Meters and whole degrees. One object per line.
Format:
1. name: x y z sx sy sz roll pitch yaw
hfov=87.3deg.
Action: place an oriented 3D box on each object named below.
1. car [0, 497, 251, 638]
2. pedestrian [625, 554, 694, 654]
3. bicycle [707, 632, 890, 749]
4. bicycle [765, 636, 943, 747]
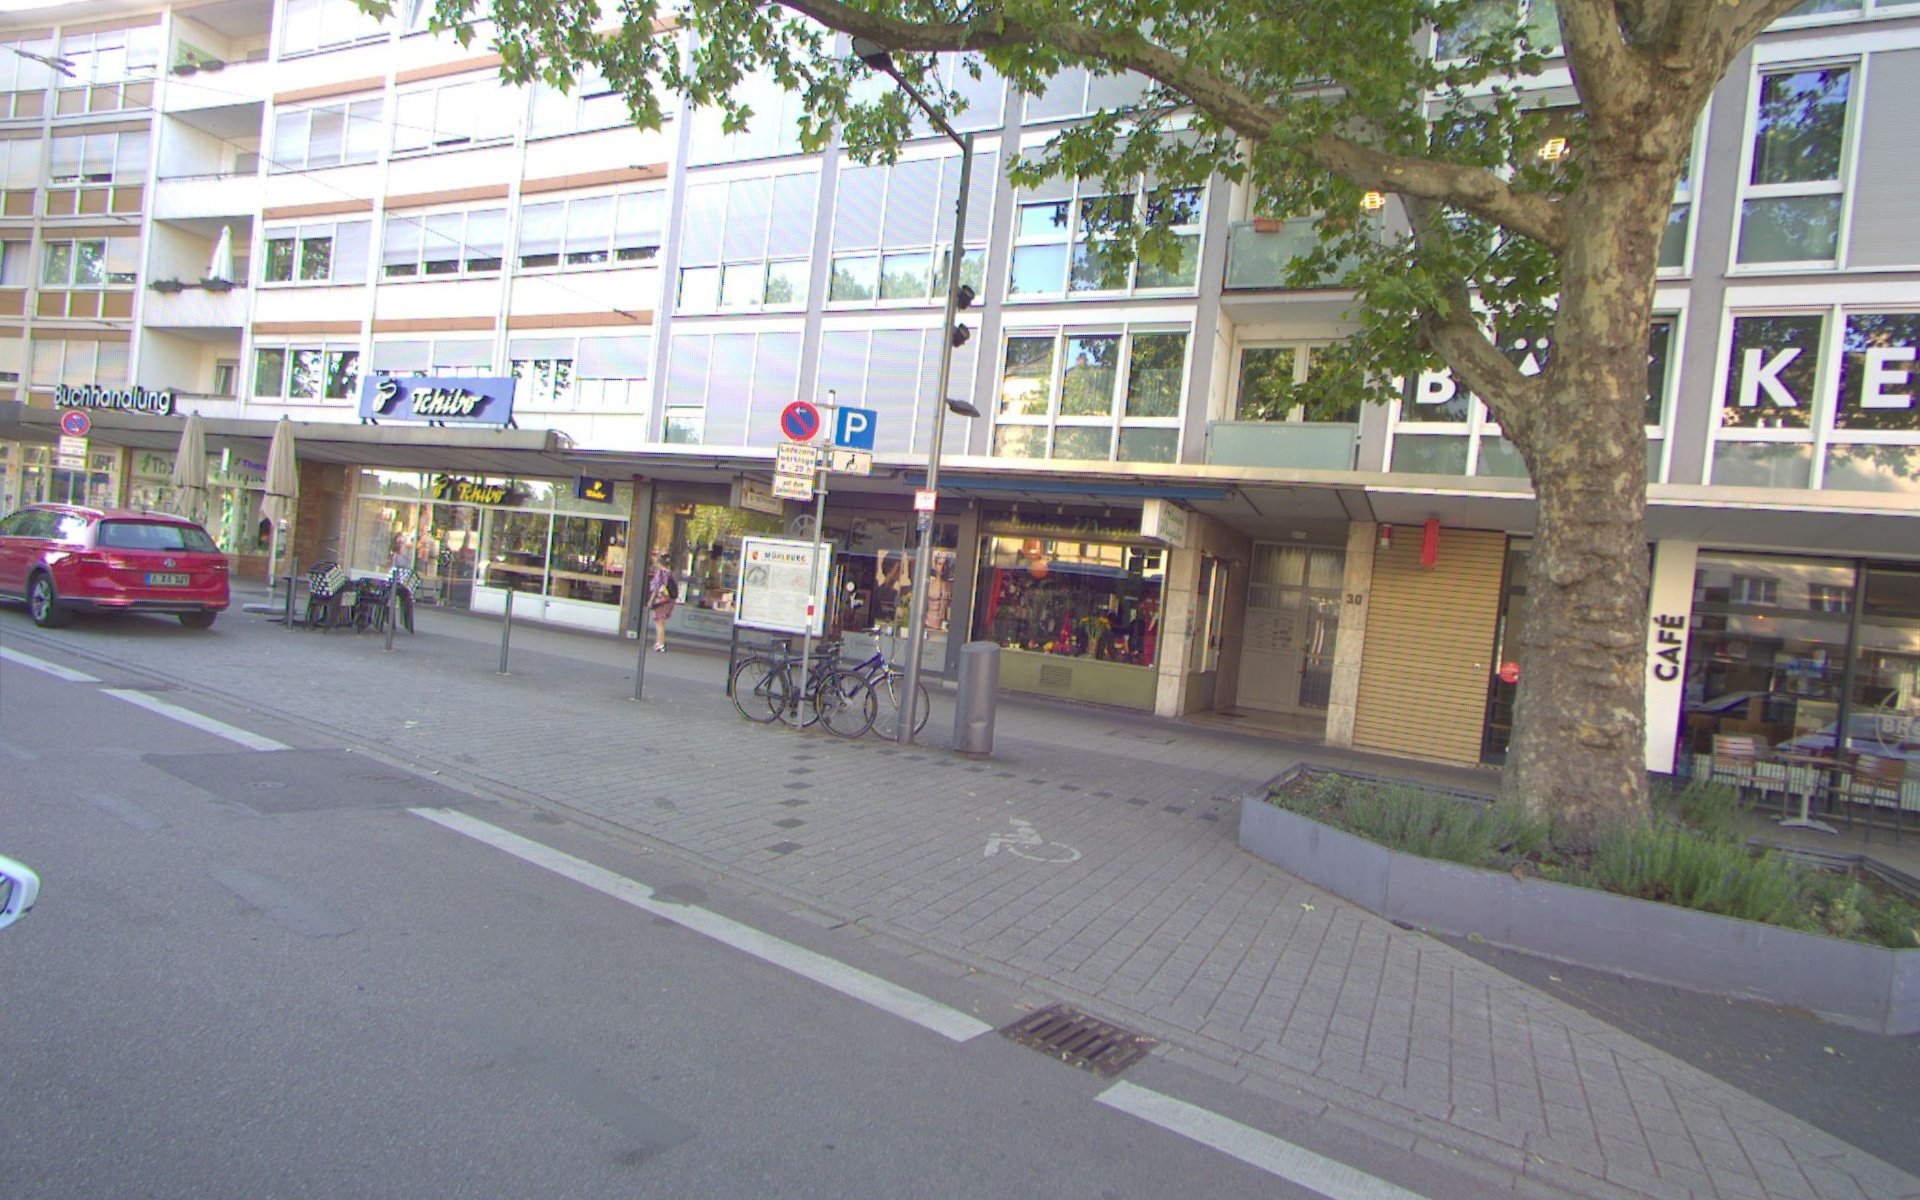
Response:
1. car: -11.649 -0.491 13.448 4.229 1.502 1.772 6 1 28
2. pedestrian: -5.115 0.069 17.149 0.776 1.613 0.651 7 3 26
3. bicycle: -1.647 0.901 10.241 1.743 0.951 0.391 6 2 12
4. bicycle: -1.113 0.940 10.552 1.743 0.931 0.391 6 2 12
